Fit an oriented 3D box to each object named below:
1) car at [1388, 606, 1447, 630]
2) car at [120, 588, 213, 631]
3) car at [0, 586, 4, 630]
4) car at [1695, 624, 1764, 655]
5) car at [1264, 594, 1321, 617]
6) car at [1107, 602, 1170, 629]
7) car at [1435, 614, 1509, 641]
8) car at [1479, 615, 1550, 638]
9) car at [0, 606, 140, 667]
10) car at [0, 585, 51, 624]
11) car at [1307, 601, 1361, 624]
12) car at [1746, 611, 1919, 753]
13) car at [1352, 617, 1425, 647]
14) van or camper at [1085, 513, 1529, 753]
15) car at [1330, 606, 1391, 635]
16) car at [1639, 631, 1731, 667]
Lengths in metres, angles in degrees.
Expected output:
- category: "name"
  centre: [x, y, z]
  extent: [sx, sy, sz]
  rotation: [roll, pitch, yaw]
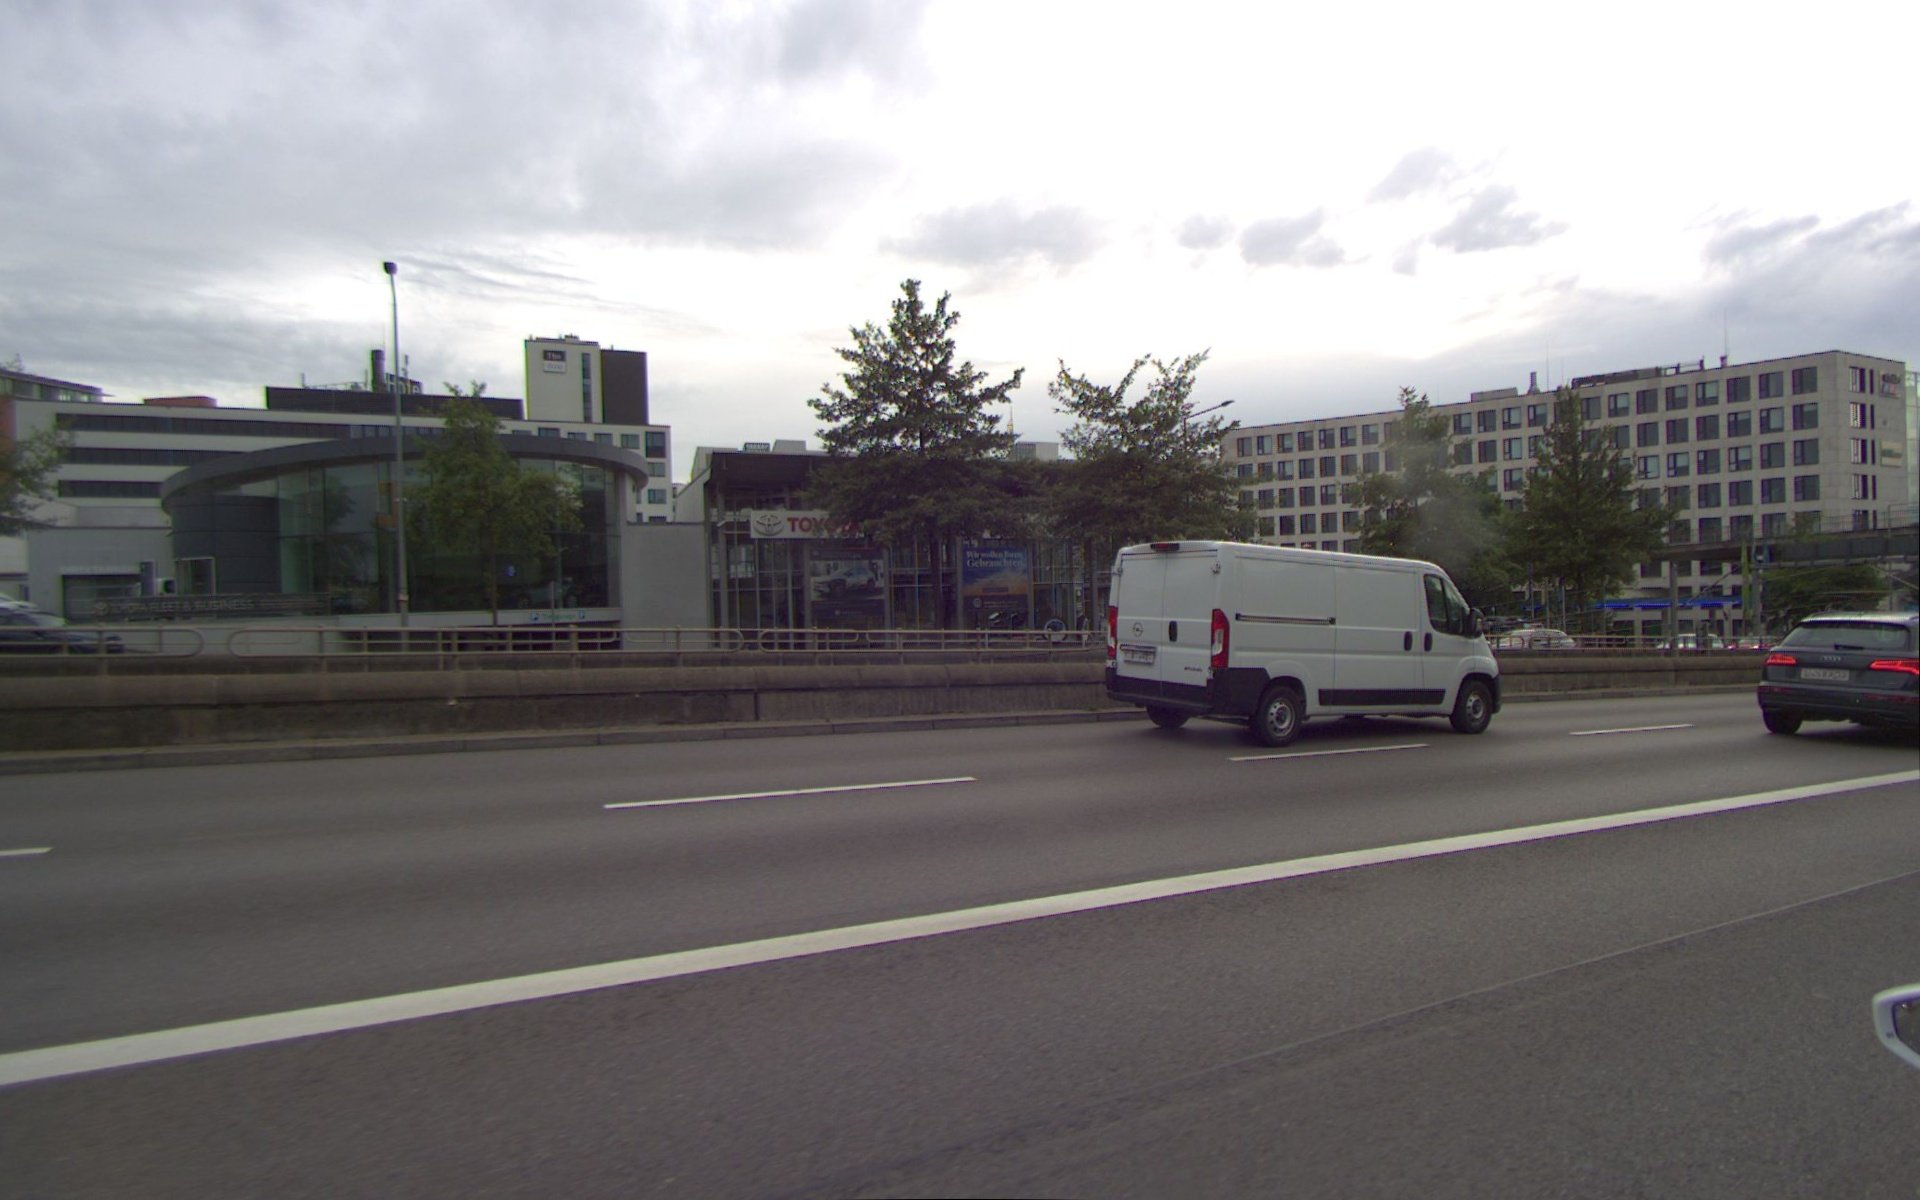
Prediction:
- category: "car"
  centre: [36.148, 1.421, 79.465]
  extent: [1.972, 1.673, 3.977]
  rotation: [-2, 2, -23]
- category: "car"
  centre: [-34.345, 0.396, 43.481]
  extent: [3.930, 1.806, 1.919]
  rotation: [1, -1, 32]
- category: "car"
  centre: [-43.633, 0.336, 41.576]
  extent: [5.457, 1.907, 1.989]
  rotation: [0, 1, -23]
- category: "car"
  centre: [47.142, 2.399, 61.549]
  extent: [4.055, 1.801, 1.983]
  rotation: [1, 1, -31]
- category: "car"
  centre: [26.164, 0.383, 79.202]
  extent: [1.976, 1.673, 3.967]
  rotation: [-2, 2, -30]
- category: "car"
  centre: [11.884, 1.012, 66.857]
  extent: [3.920, 1.673, 2.000]
  rotation: [0, 2, 17]
- category: "car"
  centre: [34.043, 1.805, 66.858]
  extent: [1.974, 1.673, 3.973]
  rotation: [1, 1, -26]
- category: "car"
  centre: [38.177, 1.822, 69.250]
  extent: [1.825, 1.372, 3.973]
  rotation: [1, 1, -26]
- category: "car"
  centre: [-28.319, 1.112, 30.819]
  extent: [4.421, 1.707, 1.919]
  rotation: [-1, 2, -11]
- category: "car"
  centre: [-45.029, 0.226, 46.430]
  extent: [3.944, 1.707, 1.912]
  rotation: [-2, 2, -24]
- category: "car"
  centre: [30.922, 1.003, 83.224]
  extent: [1.800, 1.673, 3.965]
  rotation: [-2, 2, -32]
- category: "car"
  centre: [12.683, 1.014, 13.584]
  extent: [4.695, 1.639, 1.742]
  rotation: [2, -1, -32]
- category: "car"
  centre: [27.130, 1.999, 63.616]
  extent: [3.930, 1.673, 1.995]
  rotation: [2, 1, 32]
- category: "van or camper"
  centre: [4.449, 0.400, 12.657]
  extent: [5.463, 2.471, 2.194]
  rotation: [1, -1, -29]
- category: "car"
  centre: [29.770, 1.496, 74.770]
  extent: [1.972, 1.901, 3.977]
  rotation: [-2, 2, -23]
- category: "car"
  centre: [35.322, 2.386, 48.957]
  extent: [3.946, 1.606, 1.988]
  rotation: [2, -2, -25]
